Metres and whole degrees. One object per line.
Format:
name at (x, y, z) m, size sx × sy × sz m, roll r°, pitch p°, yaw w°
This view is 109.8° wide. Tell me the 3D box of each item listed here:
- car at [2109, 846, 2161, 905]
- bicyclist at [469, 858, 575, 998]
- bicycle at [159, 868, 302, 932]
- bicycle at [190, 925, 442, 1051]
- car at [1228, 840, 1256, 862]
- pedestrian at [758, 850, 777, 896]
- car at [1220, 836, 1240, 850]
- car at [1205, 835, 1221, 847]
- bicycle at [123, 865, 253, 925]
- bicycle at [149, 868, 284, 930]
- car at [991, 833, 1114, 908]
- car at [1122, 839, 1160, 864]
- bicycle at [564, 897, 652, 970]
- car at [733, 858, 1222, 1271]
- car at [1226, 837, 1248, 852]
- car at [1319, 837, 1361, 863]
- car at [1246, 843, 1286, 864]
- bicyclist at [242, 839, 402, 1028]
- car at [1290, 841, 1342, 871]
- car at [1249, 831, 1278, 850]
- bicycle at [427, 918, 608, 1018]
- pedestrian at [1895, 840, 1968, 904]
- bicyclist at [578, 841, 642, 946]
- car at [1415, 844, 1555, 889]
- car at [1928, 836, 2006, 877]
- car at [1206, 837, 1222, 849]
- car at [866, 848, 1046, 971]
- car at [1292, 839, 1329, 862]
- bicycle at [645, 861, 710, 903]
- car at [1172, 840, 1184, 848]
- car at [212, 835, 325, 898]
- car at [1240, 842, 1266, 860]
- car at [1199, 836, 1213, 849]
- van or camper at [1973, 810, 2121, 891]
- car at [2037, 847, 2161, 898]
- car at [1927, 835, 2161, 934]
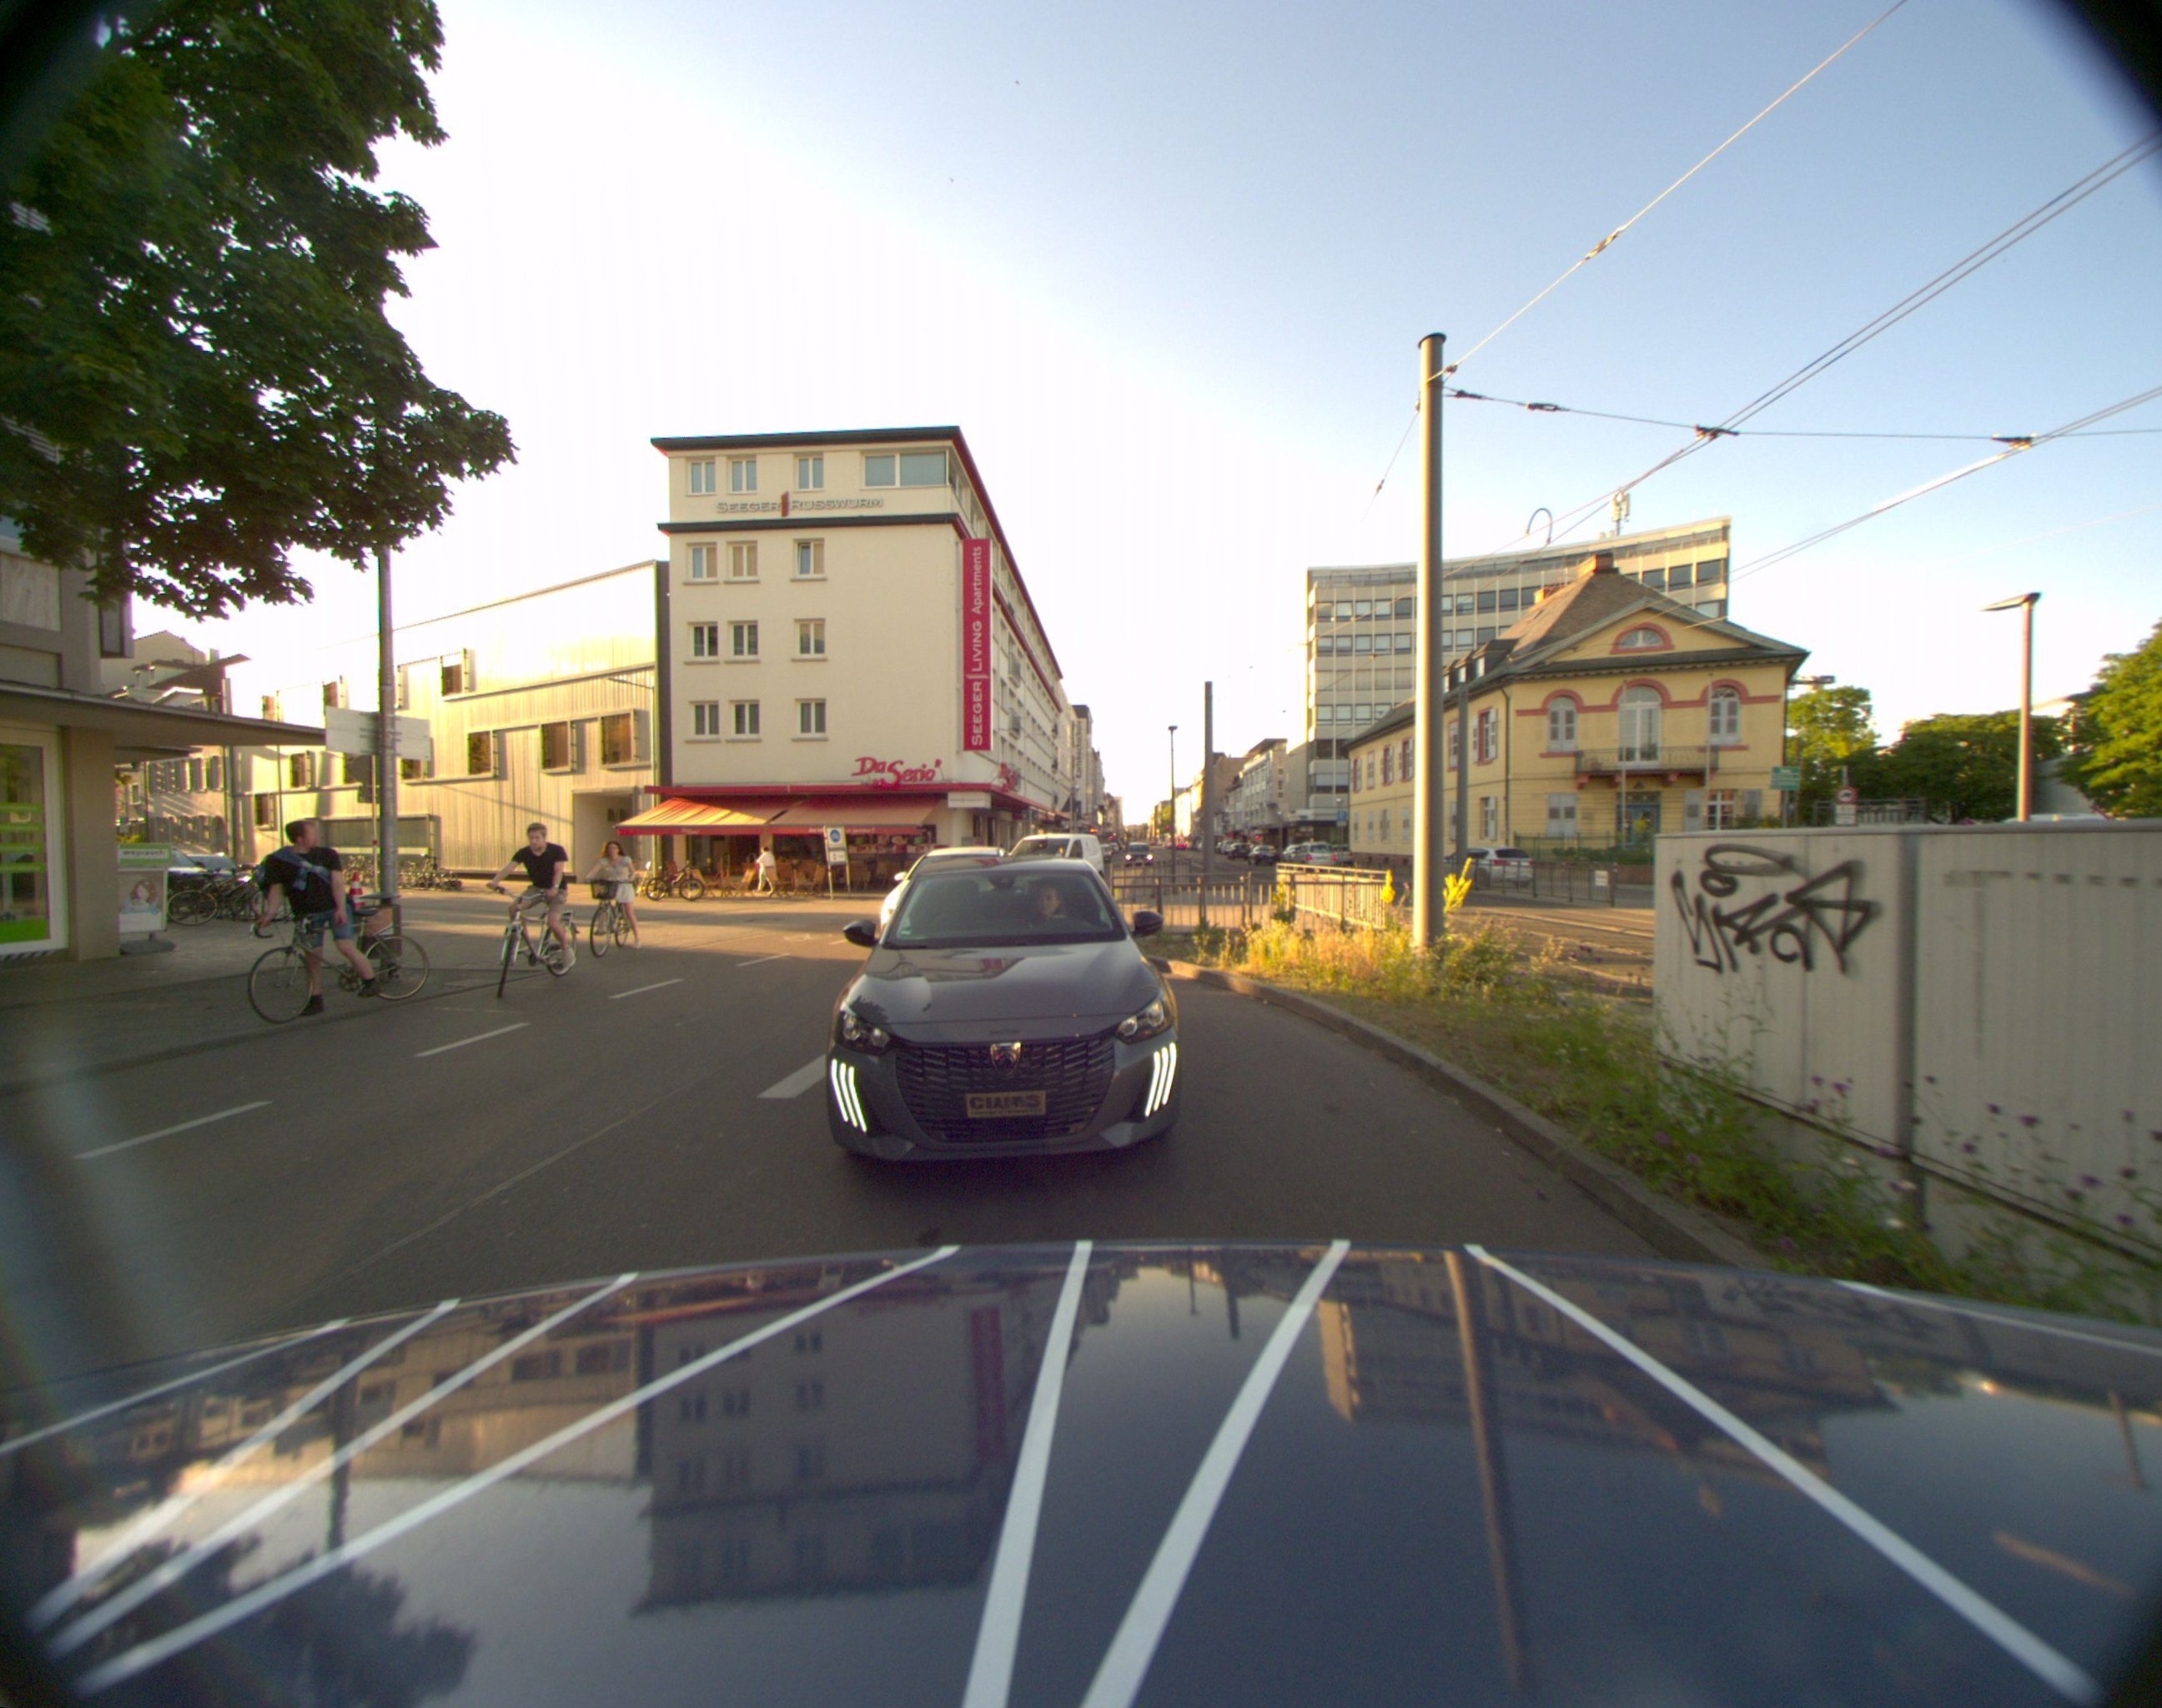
car at (29.881, 0.590, 20.215) m, size 1.778 × 1.535 × 4.299 m, roll 2°, pitch 2°, yaw 36°
bicyclist at (-6.216, 0.796, 8.483) m, size 0.614 × 1.479 × 0.718 m, roll 0°, pitch 2°, yaw 2°
bicycle at (-16.661, 0.866, 14.944) m, size 0.553 × 1.179 × 1.784 m, roll 0°, pitch -1°, yaw 21°
bicycle at (-7.250, 1.224, 7.341) m, size 0.675 × 0.896 × 1.690 m, roll 0°, pitch 1°, yaw 1°
car at (15.294, -0.318, 72.475) m, size 1.998 × 1.979 × 4.119 m, roll 0°, pitch 1°, yaw 2°
pedestrian at (-9.899, 0.596, 23.987) m, size 0.509 × 1.441 × 0.506 m, roll -1°, pitch 2°, yaw -23°
car at (20.584, -1.564, 105.309) m, size 1.998 × 1.937 × 3.999 m, roll 0°, pitch 1°, yaw 1°
car at (22.760, -2.321, 131.186) m, size 1.999 × 2.002 × 3.999 m, roll -2°, pitch 2°, yaw 0°
bicycle at (-18.701, 0.834, 15.962) m, size 0.484 × 1.179 × 1.690 m, roll 0°, pitch -1°, yaw 21°
bicycle at (-17.580, 0.883, 15.504) m, size 0.538 × 1.179 × 1.721 m, roll 0°, pitch -1°, yaw 21°
car at (-0.626, 0.376, 21.067) m, size 1.997 × 1.827 × 4.881 m, roll 0°, pitch 1°, yaw 15°
car at (4.126, -0.141, 51.390) m, size 1.996 × 1.564 × 4.307 m, roll 0°, pitch 0°, yaw 12°
bicycle at (-6.832, 1.116, 11.067) m, size 0.600 × 0.820 × 1.737 m, roll 0°, pitch 1°, yaw -15°
car at (-0.543, 0.837, 5.365) m, size 1.916 × 1.495 × 4.699 m, roll 0°, pitch 1°, yaw -4°
car at (20.159, -1.238, 98.223) m, size 1.998 × 1.937 × 3.999 m, roll 0°, pitch 1°, yaw 1°
car at (17.420, -0.299, 51.264) m, size 1.736 × 1.698 × 3.439 m, roll 0°, pitch 1°, yaw 3°
car at (13.463, -0.057, 55.518) m, size 2.017 × 1.420 × 4.656 m, roll 0°, pitch 1°, yaw 2°
bicyclist at (-7.252, 0.718, 7.304) m, size 0.665 × 1.718 × 0.810 m, roll 0°, pitch 2°, yaw 1°
car at (13.451, 0.084, 43.742) m, size 1.838 × 1.589 × 4.071 m, roll 0°, pitch 1°, yaw 1°
car at (18.596, -1.403, 77.618) m, size 1.998 × 1.890 × 3.999 m, roll 0°, pitch 1°, yaw 1°
bicycle at (-6.210, 1.219, 8.518) m, size 0.614 × 0.820 × 1.805 m, roll 0°, pitch 1°, yaw 2°
pedestrian at (20.782, 0.407, 18.594) m, size 1.041 × 1.494 × 1.007 m, roll 1°, pitch 2°, yaw 41°
bicyclist at (-6.834, 0.545, 11.054) m, size 0.589 × 1.479 × 0.717 m, roll 0°, pitch 2°, yaw -15°
car at (14.176, 0.378, 26.975) m, size 1.917 × 1.402 × 4.331 m, roll 0°, pitch 1°, yaw -15°
car at (42.580, 0.056, 36.612) m, size 1.713 × 1.838 × 4.030 m, roll 2°, pitch 2°, yaw 39°
car at (21.885, -1.832, 124.867) m, size 1.998 × 1.936 × 3.999 m, roll 0°, pitch 1°, yaw 1°
car at (-1.715, 0.700, 12.057) m, size 1.815 × 1.441 × 4.562 m, roll 0°, pitch 2°, yaw 4°
car at (17.185, -0.292, 56.966) m, size 1.736 × 1.698 × 3.806 m, roll 0°, pitch 1°, yaw 2°
bicycle at (-11.982, 0.824, 22.566) m, size 1.632 × 1.161 × 0.600 m, roll 0°, pitch 4°, yaw 9°
car at (19.676, -2.064, 154.036) m, size 1.848 × 1.499 × 3.999 m, roll 0°, pitch 1°, yaw 0°
car at (-27.944, 0.362, 26.113) m, size 3.988 × 2.002 × 2.004 m, roll 1°, pitch 2°, yaw 34°
car at (18.737, -0.315, 83.073) m, size 1.998 × 1.936 × 4.000 m, roll 0°, pitch 1°, yaw 1°
car at (22.727, -2.148, 138.283) m, size 1.998 × 2.363 × 3.999 m, roll 0°, pitch 1°, yaw 1°
van or camper at (36.318, -0.165, 28.799) m, size 2.077 × 2.759 × 6.463 m, roll 2°, pitch 2°, yaw 40°
car at (32.572, 0.532, 24.115) m, size 1.729 × 1.421 × 4.483 m, roll 2°, pitch 2°, yaw 38°
car at (18.121, 0.466, 13.066) m, size 2.000 × 1.508 × 4.410 m, roll -3°, pitch 2°, yaw -9°
